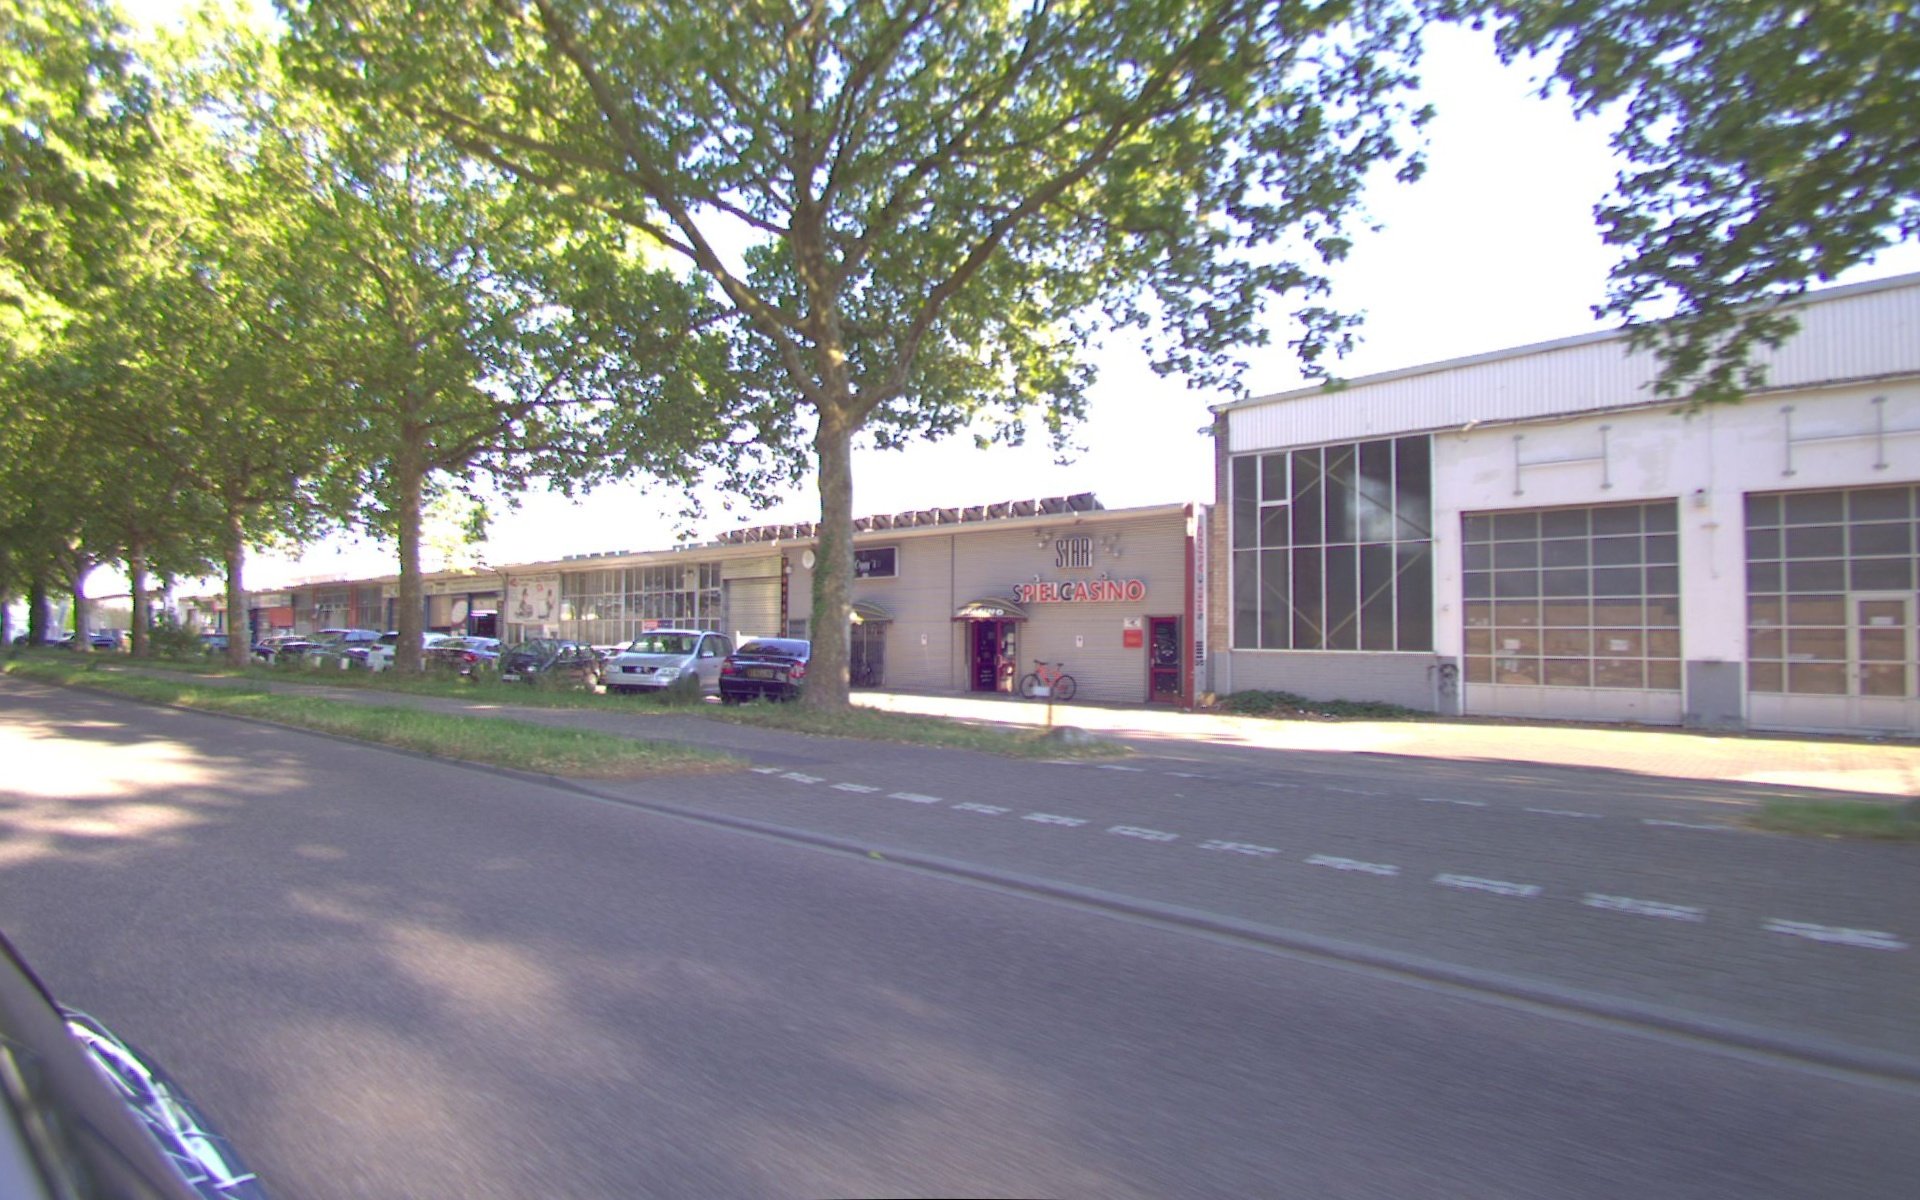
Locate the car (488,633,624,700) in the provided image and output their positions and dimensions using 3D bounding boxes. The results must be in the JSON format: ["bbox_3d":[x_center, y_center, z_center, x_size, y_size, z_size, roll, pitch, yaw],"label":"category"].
[{"bbox_3d":[-11.279,1.808,28.603,1.974,1.642,4.258,-1,-1,3],"label":"car"}]

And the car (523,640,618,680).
[{"bbox_3d":[-15.125,2.321,39.444,3.244,1.417,1.713,0,-1,-11],"label":"car"}]

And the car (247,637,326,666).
[{"bbox_3d":[-43.570,3.334,65.569,3.930,1.719,2.006,0,-1,-22],"label":"car"}]

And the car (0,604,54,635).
[{"bbox_3d":[-90.545,1.837,96.100,2.574,2.517,6.303,0,-6,11],"label":"car"}]

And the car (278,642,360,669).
[{"bbox_3d":[-39.103,3.388,61.853,3.930,1.453,2.006,0,-1,-22],"label":"car"}]

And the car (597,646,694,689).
[{"bbox_3d":[-11.918,2.519,38.324,3.241,1.417,1.714,0,-1,-27],"label":"car"}]

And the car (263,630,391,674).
[{"bbox_3d":[-23.348,1.888,37.533,1.973,1.463,4.259,-1,-1,3],"label":"car"}]

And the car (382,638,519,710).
[{"bbox_3d":[-13.571,1.920,27.236,1.969,1.642,4.269,0,-1,-7],"label":"car"}]

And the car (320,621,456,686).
[{"bbox_3d":[-16.674,1.500,29.765,1.969,1.712,4.268,0,-1,-6],"label":"car"}]

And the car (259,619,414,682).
[{"bbox_3d":[-18.962,1.480,31.003,1.977,1.763,3.989,-1,-1,9],"label":"car"}]

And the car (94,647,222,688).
[{"bbox_3d":[-40.563,3.357,51.368,1.983,1.773,4.872,-1,-1,17],"label":"car"}]

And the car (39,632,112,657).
[{"bbox_3d":[-61.353,3.058,70.288,1.970,1.587,3.847,0,-1,-5],"label":"car"}]

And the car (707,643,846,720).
[{"bbox_3d":[-3.441,1.509,19.882,1.972,1.316,4.484,0,-2,-1],"label":"car"}]

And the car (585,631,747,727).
[{"bbox_3d":[-6.166,1.603,21.803,1.974,1.744,4.479,-1,-1,3],"label":"car"}]

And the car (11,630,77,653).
[{"bbox_3d":[-69.635,3.113,77.007,1.967,1.582,4.061,0,-1,-12],"label":"car"}]

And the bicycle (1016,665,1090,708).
[{"bbox_3d":[2.633,2.441,28.870,2.159,1.066,0.530,-1,4,42],"label":"bicycle"}]

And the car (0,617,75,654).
[{"bbox_3d":[-81.941,3.136,88.235,2.575,2.875,6.931,-1,-6,12],"label":"car"}]

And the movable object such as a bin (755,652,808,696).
[{"bbox_3d":[-6.260,2.565,35.431,1.571,1.442,1.046,-1,-1,39],"label":"movable object such as a bin"}]

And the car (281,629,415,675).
[{"bbox_3d":[-21.128,1.759,35.180,1.973,1.393,4.259,-1,-1,3],"label":"car"}]

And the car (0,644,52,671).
[{"bbox_3d":[-72.937,4.453,78.402,1.967,1.854,4.259,0,-1,-12],"label":"car"}]
